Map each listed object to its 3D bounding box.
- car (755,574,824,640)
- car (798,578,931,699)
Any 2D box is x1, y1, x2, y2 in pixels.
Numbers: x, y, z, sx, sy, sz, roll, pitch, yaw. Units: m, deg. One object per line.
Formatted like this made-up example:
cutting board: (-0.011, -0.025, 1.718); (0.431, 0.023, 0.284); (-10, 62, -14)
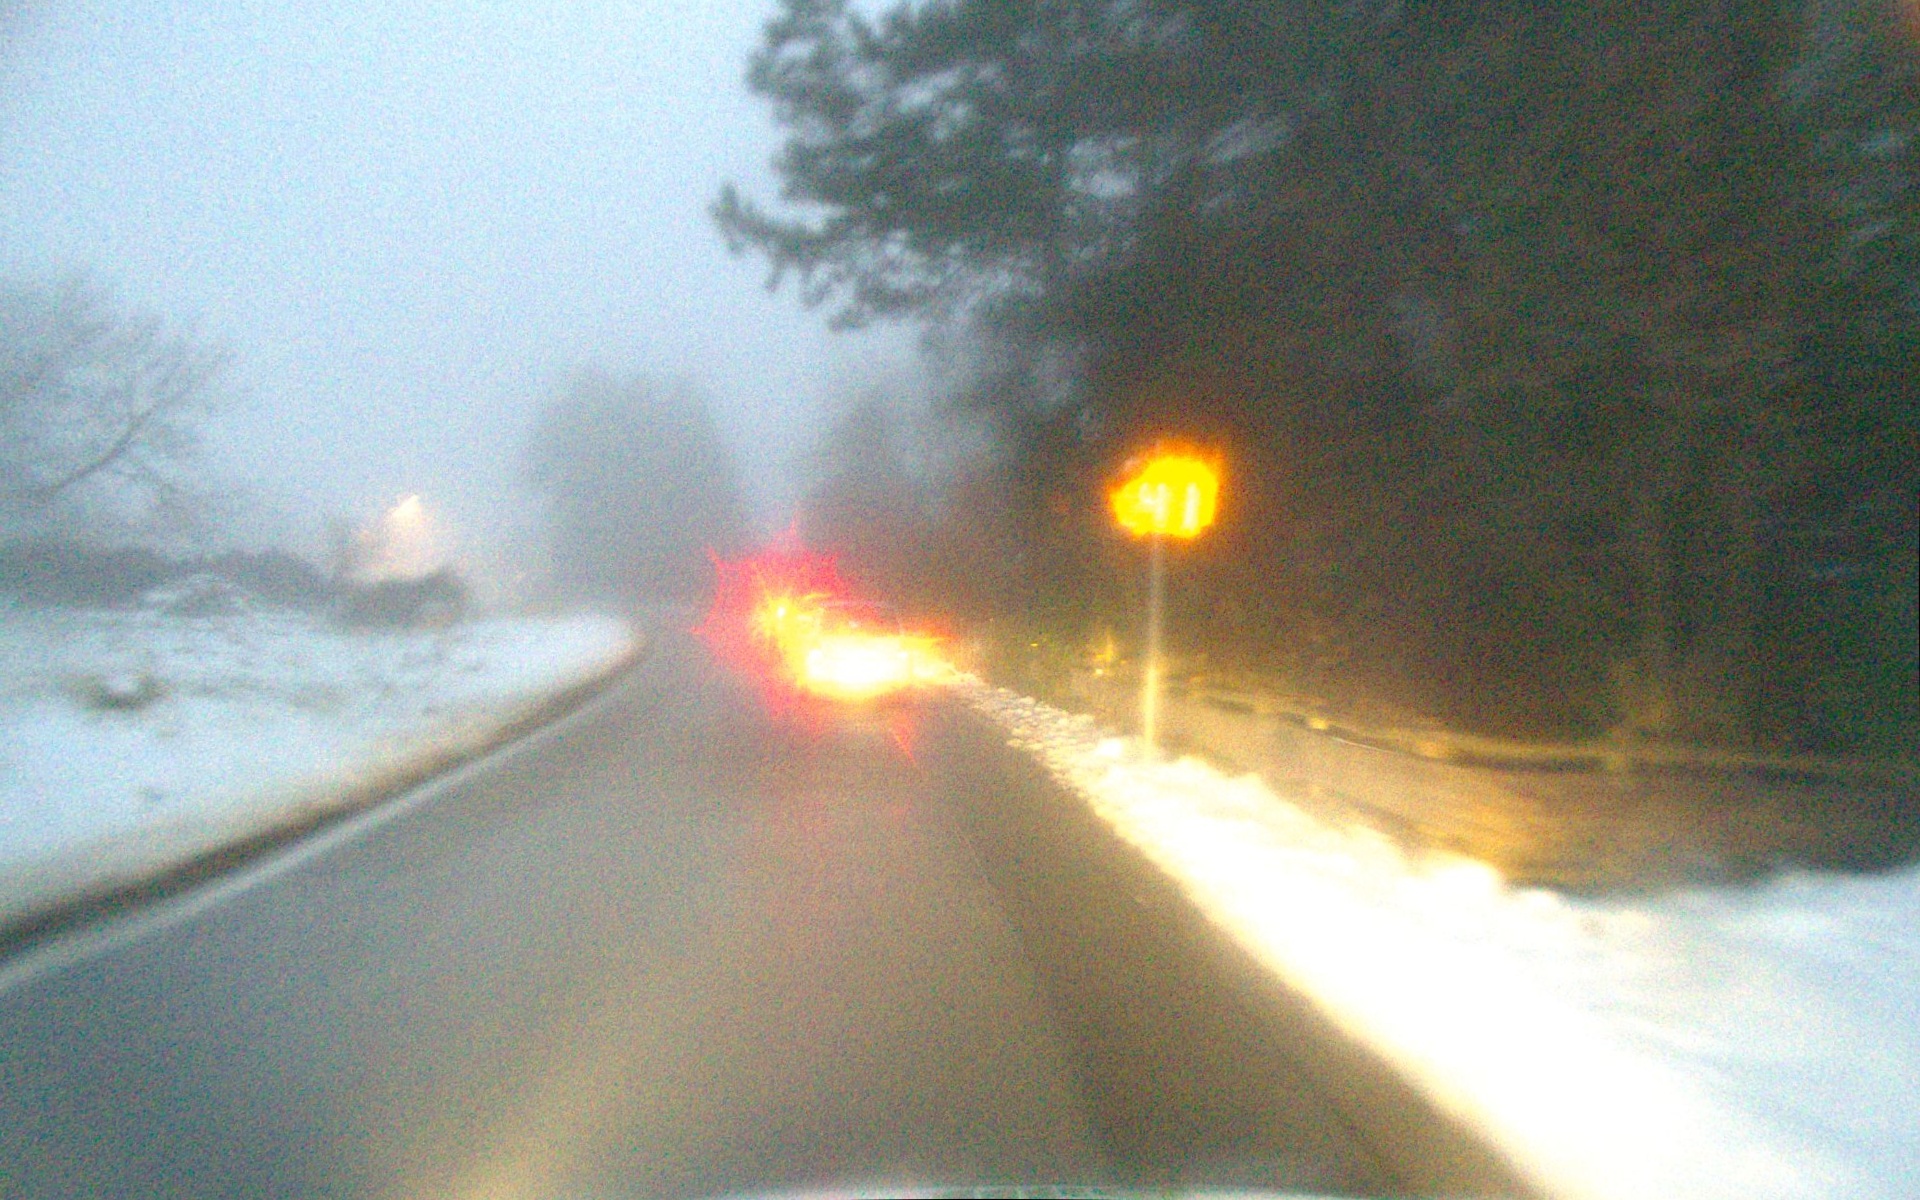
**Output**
car: (-4.243, 0.160, 40.891); (1.452, 1.534, 3.045); (1, 0, -10)
car: (-1.489, 0.591, 25.061); (1.674, 1.488, 3.995); (8, -2, -4)
